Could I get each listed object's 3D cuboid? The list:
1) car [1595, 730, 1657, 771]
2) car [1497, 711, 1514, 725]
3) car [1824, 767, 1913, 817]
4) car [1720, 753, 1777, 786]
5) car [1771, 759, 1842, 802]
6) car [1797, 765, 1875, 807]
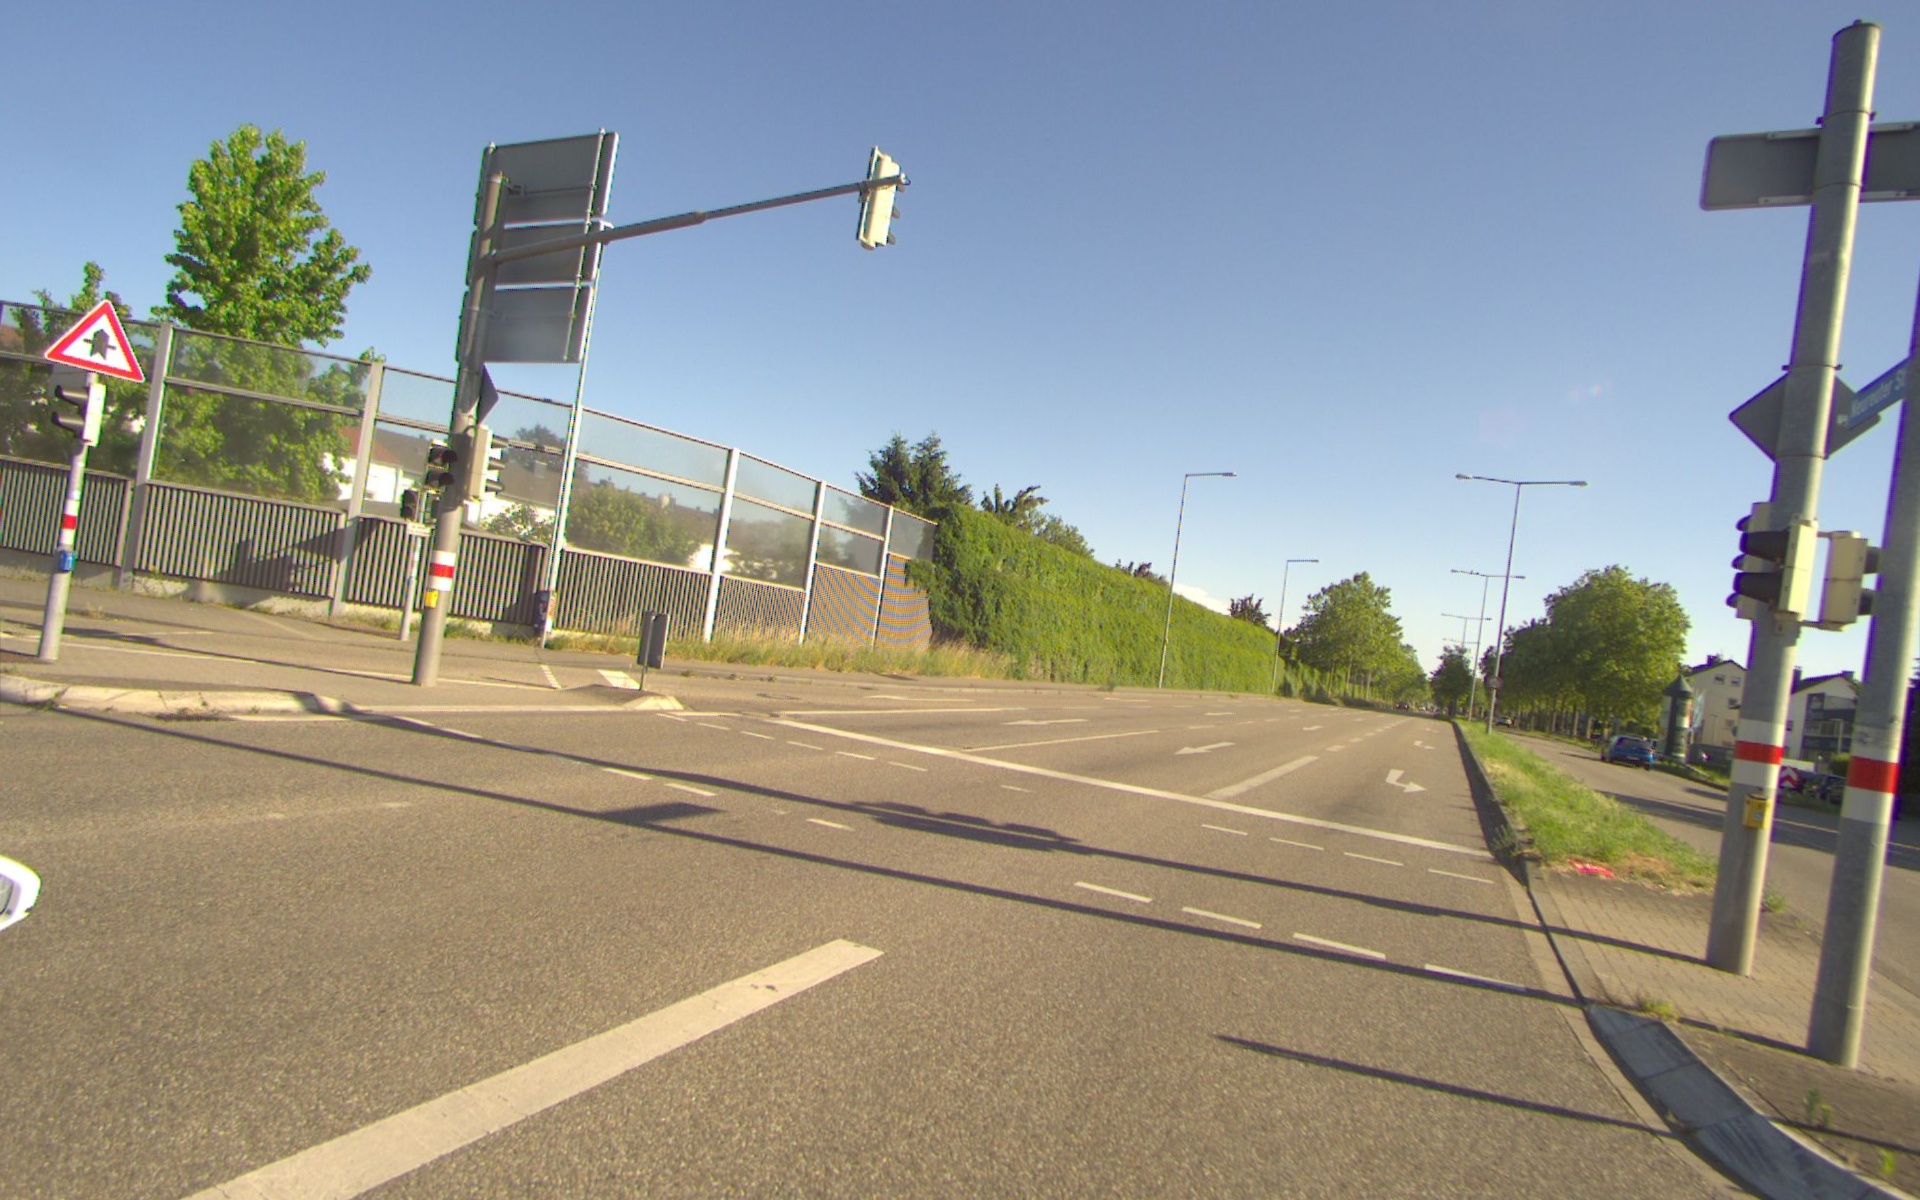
[{"bbox_3d":[32.447,7.303,49.100,1.706,1.457,3.793,10,0,25],"label":"car"},{"bbox_3d":[80.537,17.455,148.625,1.826,1.610,3.998,9,-1,27],"label":"car"},{"bbox_3d":[43.501,9.167,48.261,1.965,1.637,3.998,9,-1,27],"label":"car"},{"bbox_3d":[51.749,11.092,66.082,1.965,1.609,4.002,9,-3,27],"label":"car"},{"bbox_3d":[47.802,10.170,56.931,1.965,1.837,4.002,9,-3,27],"label":"car"},{"bbox_3d":[45.840,9.697,52.730,1.965,1.613,4.002,9,-3,27],"label":"car"}]
